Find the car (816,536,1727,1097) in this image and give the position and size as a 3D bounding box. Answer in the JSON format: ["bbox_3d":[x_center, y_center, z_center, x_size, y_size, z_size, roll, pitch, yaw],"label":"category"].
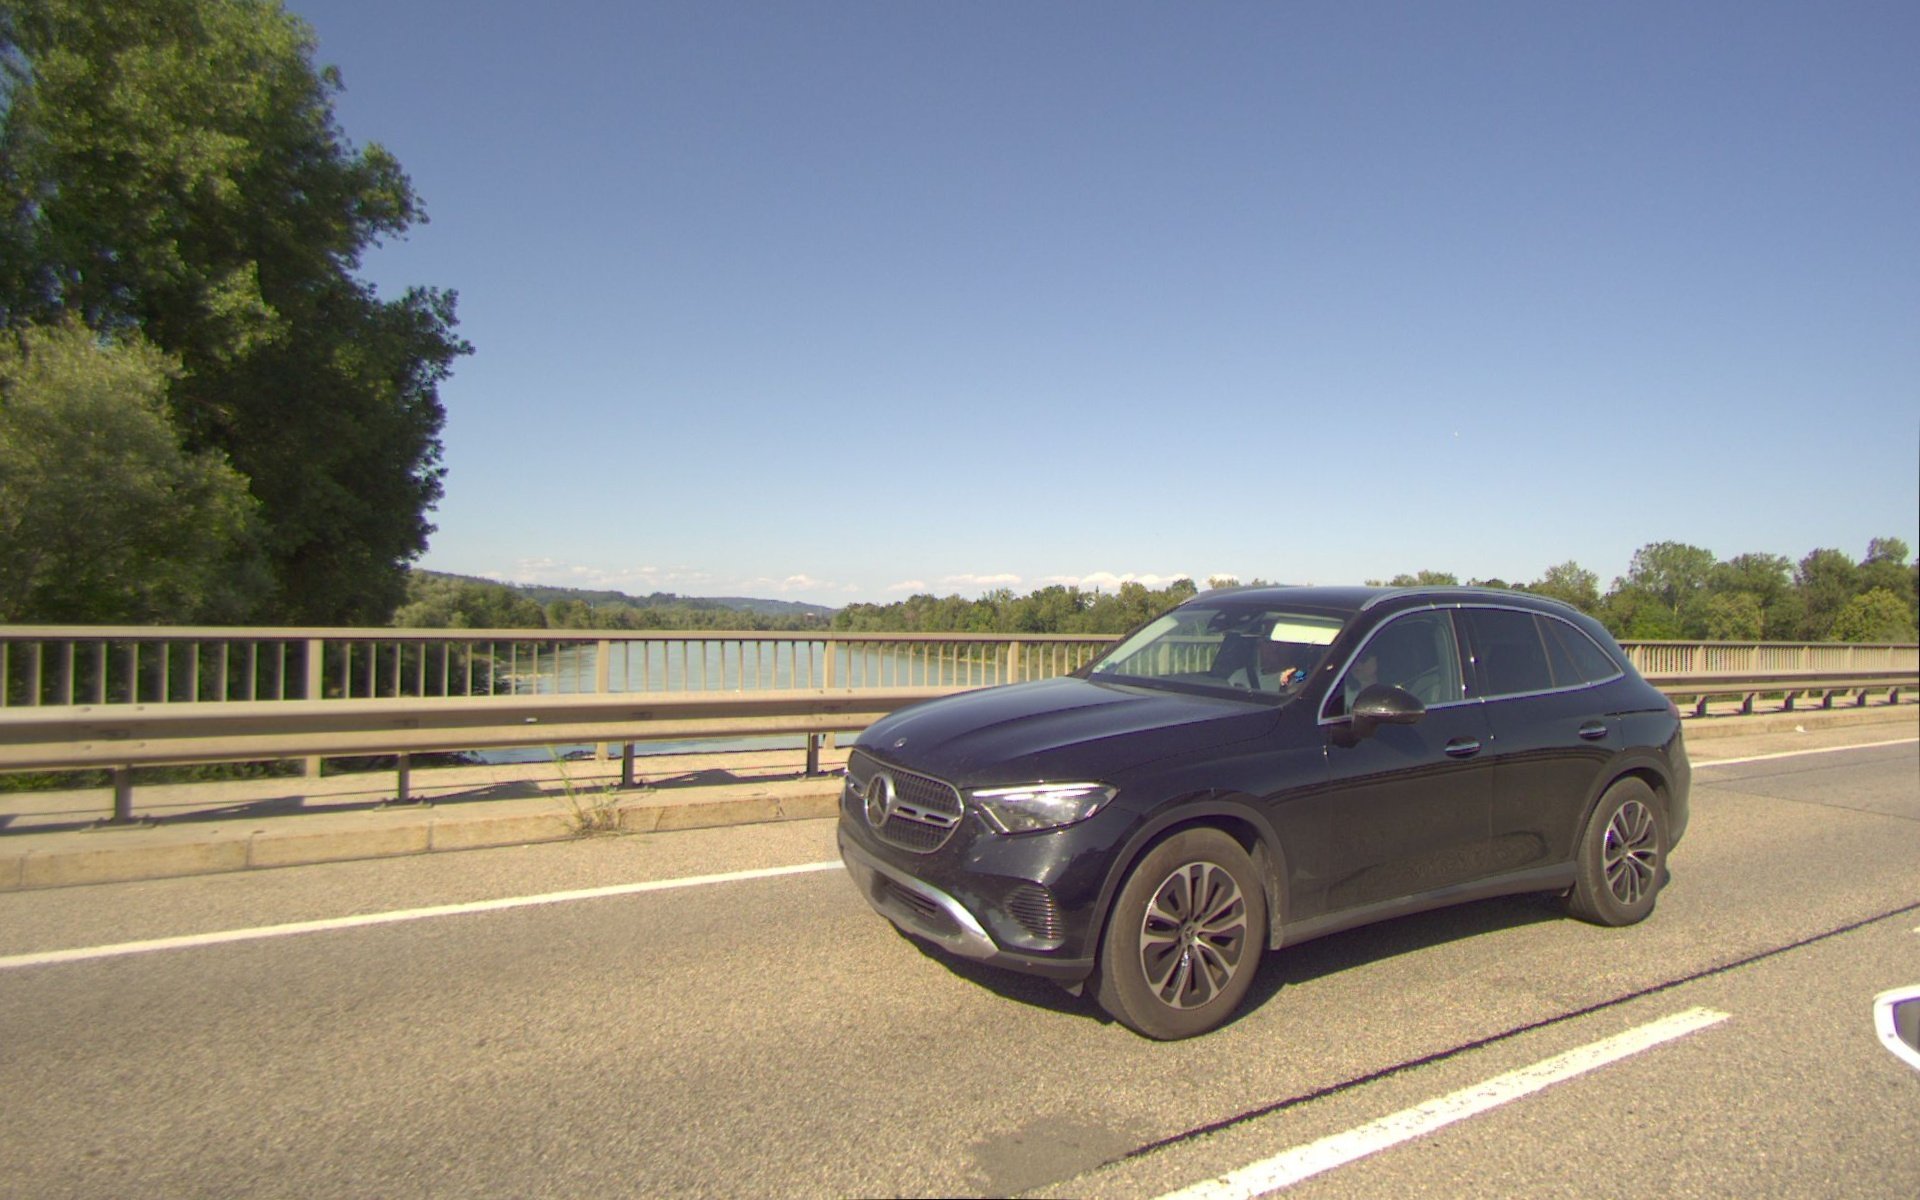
[{"bbox_3d":[1.682,0.689,4.918,4.382,1.683,1.793,1,0,-31],"label":"car"}]
